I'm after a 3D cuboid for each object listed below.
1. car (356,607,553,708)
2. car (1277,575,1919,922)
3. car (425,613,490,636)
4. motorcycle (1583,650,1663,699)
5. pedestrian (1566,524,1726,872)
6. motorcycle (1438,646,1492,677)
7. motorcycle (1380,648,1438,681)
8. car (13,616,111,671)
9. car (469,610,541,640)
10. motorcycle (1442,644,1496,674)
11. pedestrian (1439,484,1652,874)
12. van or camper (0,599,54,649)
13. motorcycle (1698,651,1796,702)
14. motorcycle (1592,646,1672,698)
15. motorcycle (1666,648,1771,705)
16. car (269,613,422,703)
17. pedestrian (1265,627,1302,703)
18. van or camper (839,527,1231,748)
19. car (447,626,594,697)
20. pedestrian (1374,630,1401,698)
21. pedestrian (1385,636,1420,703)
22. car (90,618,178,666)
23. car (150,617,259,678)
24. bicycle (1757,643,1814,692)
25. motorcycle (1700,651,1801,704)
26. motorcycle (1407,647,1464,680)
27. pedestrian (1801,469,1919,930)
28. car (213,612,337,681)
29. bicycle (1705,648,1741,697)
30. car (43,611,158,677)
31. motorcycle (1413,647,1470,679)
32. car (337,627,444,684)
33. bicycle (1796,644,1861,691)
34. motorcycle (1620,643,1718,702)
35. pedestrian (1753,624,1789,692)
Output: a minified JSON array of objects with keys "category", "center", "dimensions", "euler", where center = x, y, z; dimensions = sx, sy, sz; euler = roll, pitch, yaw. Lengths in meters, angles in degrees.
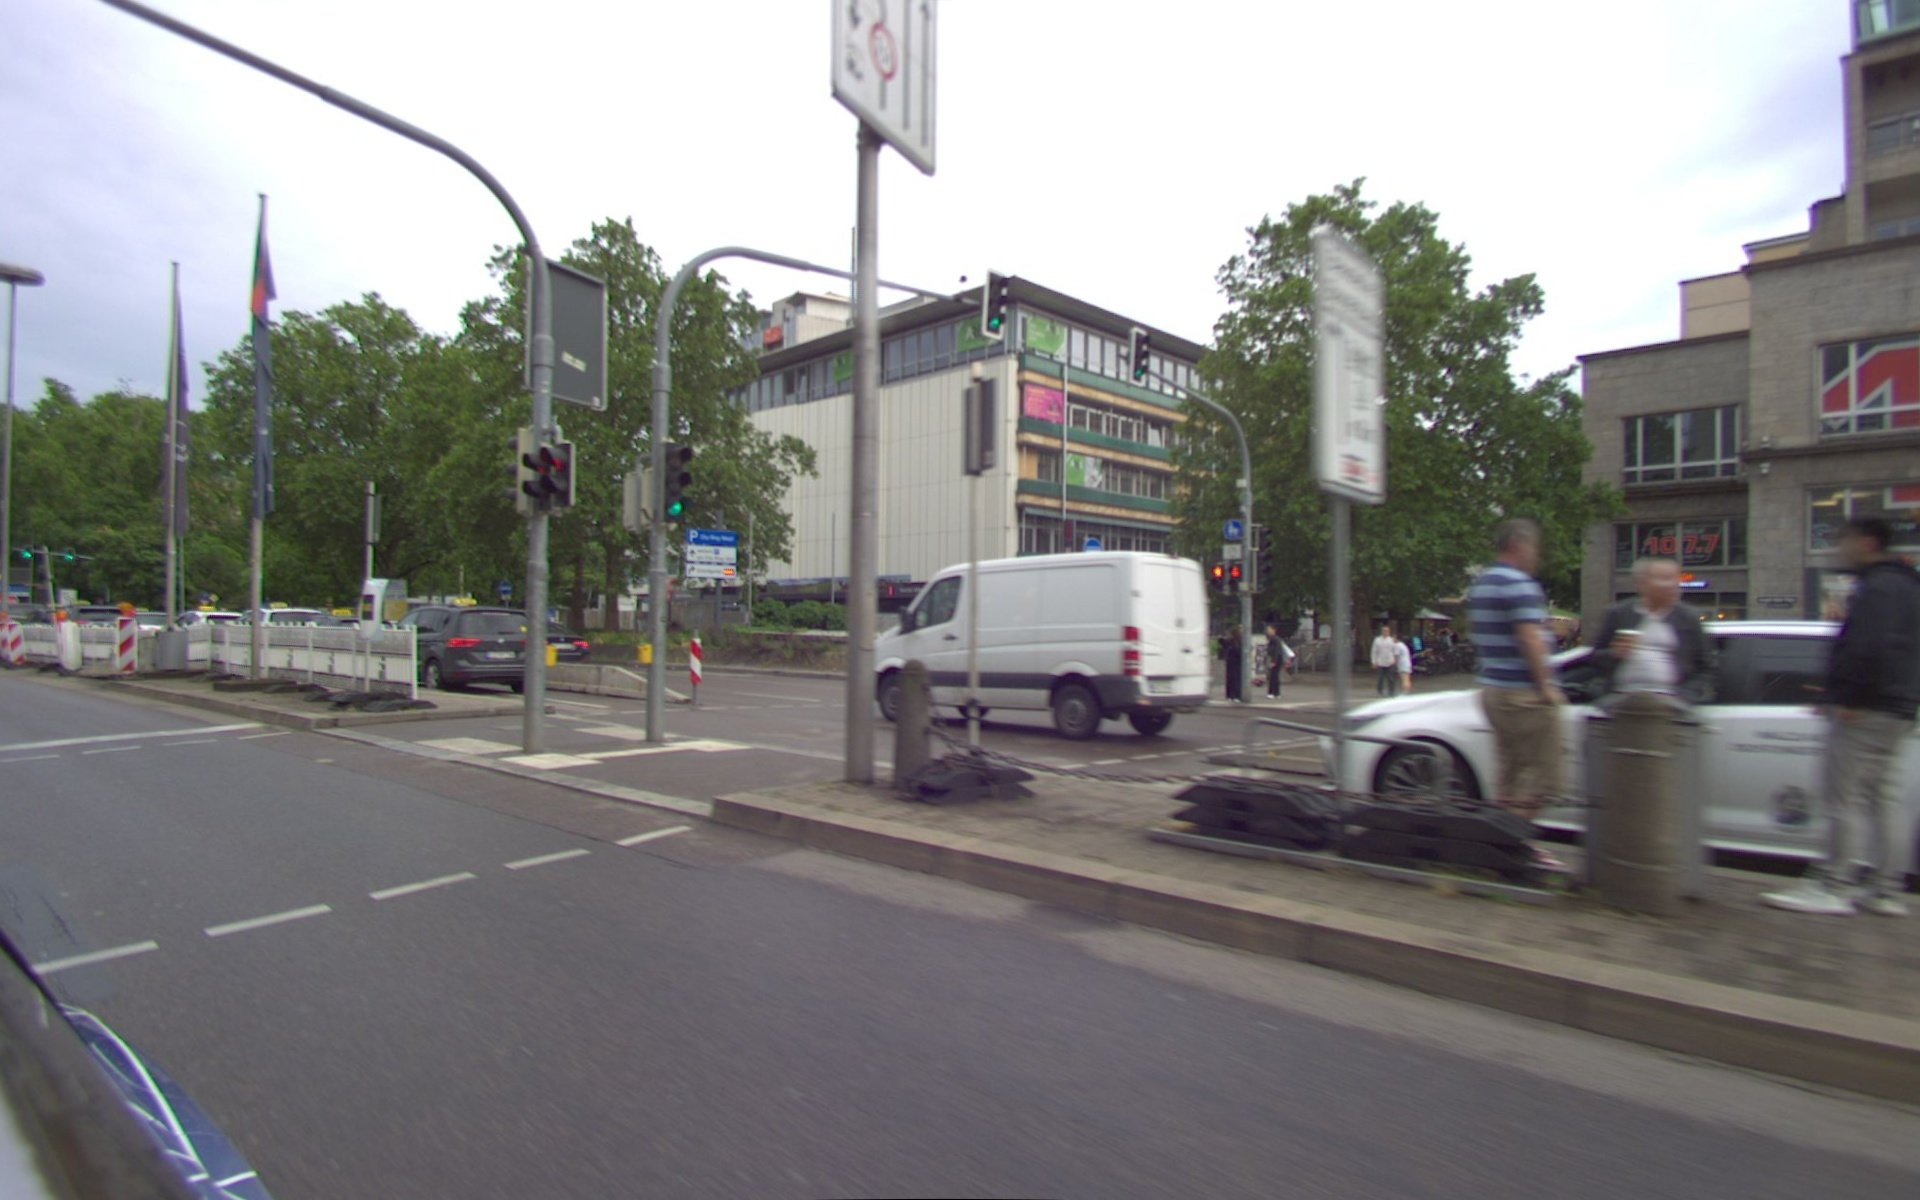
[{"category":"car","center":[-9.859,1.034,19.592],"dimensions":[4.498,1.712,1.883],"euler":[-2,-1,42]},{"category":"car","center":[4.632,0.731,6.066],"dimensions":[4.844,1.633,1.992],"euler":[-2,-2,44]},{"category":"car","center":[-44.306,2.145,89.225],"dimensions":[4.759,2.029,2.038],"euler":[1,-2,-41]},{"category":"motorcycle","center":[15.695,1.755,24.001],"dimensions":[0.573,1.051,1.628],"euler":[-1,-1,-13]},{"category":"pedestrian","center":[3.706,0.490,5.463],"dimensions":[0.593,1.724,0.644],"euler":[-2,-1,42]},{"category":"motorcycle","center":[18.467,2.232,37.026],"dimensions":[1.716,1.055,0.525],"euler":[-1,-2,41]},{"category":"motorcycle","center":[15.058,2.157,33.968],"dimensions":[1.716,1.055,0.525],"euler":[-1,-2,41]},{"category":"car","center":[-31.210,1.494,35.145],"dimensions":[4.809,1.784,1.972],"euler":[-2,-3,42]},{"category":"car","center":[-28.009,1.524,62.368],"dimensions":[3.684,1.554,1.856],"euler":[-2,2,-9]},{"category":"motorcycle","center":[18.904,2.181,37.638],"dimensions":[1.716,1.055,0.525],"euler":[-1,-2,41]},{"category":"pedestrian","center":[2.898,0.385,5.073],"dimensions":[0.550,1.789,0.754],"euler":[2,-4,-12]},{"category":"van or camper","center":[-37.875,0.943,40.030],"dimensions":[5.382,1.833,1.927],"euler":[-1,-4,37]},{"category":"motorcycle","center":[17.656,1.697,22.739],"dimensions":[0.574,1.065,1.627],"euler":[-1,-1,-38]},{"category":"motorcycle","center":[16.268,1.723,24.552],"dimensions":[0.573,1.142,1.628],"euler":[-1,-1,-13]},{"category":"motorcycle","center":[15.430,1.537,20.615],"dimensions":[0.470,1.054,1.626],"euler":[-1,-1,-40]},{"category":"car","center":[-14.718,1.322,24.146],"dimensions":[4.521,1.912,1.883],"euler":[-2,-1,42]},{"category":"pedestrian","center":[7.486,1.500,23.384],"dimensions":[0.559,1.698,0.741],"euler":[-1,-5,41]},{"category":"van or camper","center":[0.852,0.530,14.171],"dimensions":[5.370,2.533,1.972],"euler":[-1,-5,43]},{"category":"car","center":[-11.072,1.517,25.367],"dimensions":[4.042,1.623,1.794],"euler":[-2,-5,42]},{"category":"pedestrian","center":[10.548,1.576,24.956],"dimensions":[0.607,1.654,0.525],"euler":[0,-4,24]},{"category":"pedestrian","center":[10.684,1.676,24.431],"dimensions":[0.748,1.584,0.471],"euler":[0,-4,26]},{"category":"car","center":[-31.908,1.585,39.044],"dimensions":[4.419,1.715,1.871],"euler":[-2,-1,41]},{"category":"car","center":[-24.725,1.533,33.074],"dimensions":[4.563,1.865,1.894],"euler":[-2,-3,41]},{"category":"bicycle","center":[21.022,1.702,25.761],"dimensions":[1.464,1.139,0.682],"euler":[-1,-1,-33]},{"category":"motorcycle","center":[17.117,1.658,21.940],"dimensions":[0.574,1.065,1.627],"euler":[-1,-1,-38]},{"category":"motorcycle","center":[16.427,2.182,34.986],"dimensions":[1.716,1.055,0.525],"euler":[-1,-2,41]},{"category":"pedestrian","center":[3.995,0.401,4.231],"dimensions":[0.604,1.789,0.775],"euler":[0,-4,32]},{"category":"car","center":[-18.829,1.260,27.757],"dimensions":[4.481,1.735,1.765],"euler":[-2,-3,42]},{"category":"bicycle","center":[19.702,1.854,26.116],"dimensions":[0.680,1.139,1.469],"euler":[-2,-1,39]},{"category":"car","center":[-25.842,1.300,30.359],"dimensions":[4.809,1.831,1.972],"euler":[-2,-3,42]},{"category":"motorcycle","center":[16.834,2.203,35.423],"dimensions":[1.716,1.055,0.525],"euler":[-1,-2,41]},{"category":"car","center":[-18.327,1.739,32.504],"dimensions":[3.802,1.658,1.815],"euler":[-2,-1,41]},{"category":"bicycle","center":[21.541,1.663,25.106],"dimensions":[1.591,1.065,0.708],"euler":[-1,-1,-30]},{"category":"motorcycle","center":[15.247,1.540,21.794],"dimensions":[0.574,1.181,1.626],"euler":[-1,-1,-40]},{"category":"pedestrian","center":[24.773,1.748,30.926],"dimensions":[0.820,2.029,0.867],"euler":[-1,-1,38]}]
